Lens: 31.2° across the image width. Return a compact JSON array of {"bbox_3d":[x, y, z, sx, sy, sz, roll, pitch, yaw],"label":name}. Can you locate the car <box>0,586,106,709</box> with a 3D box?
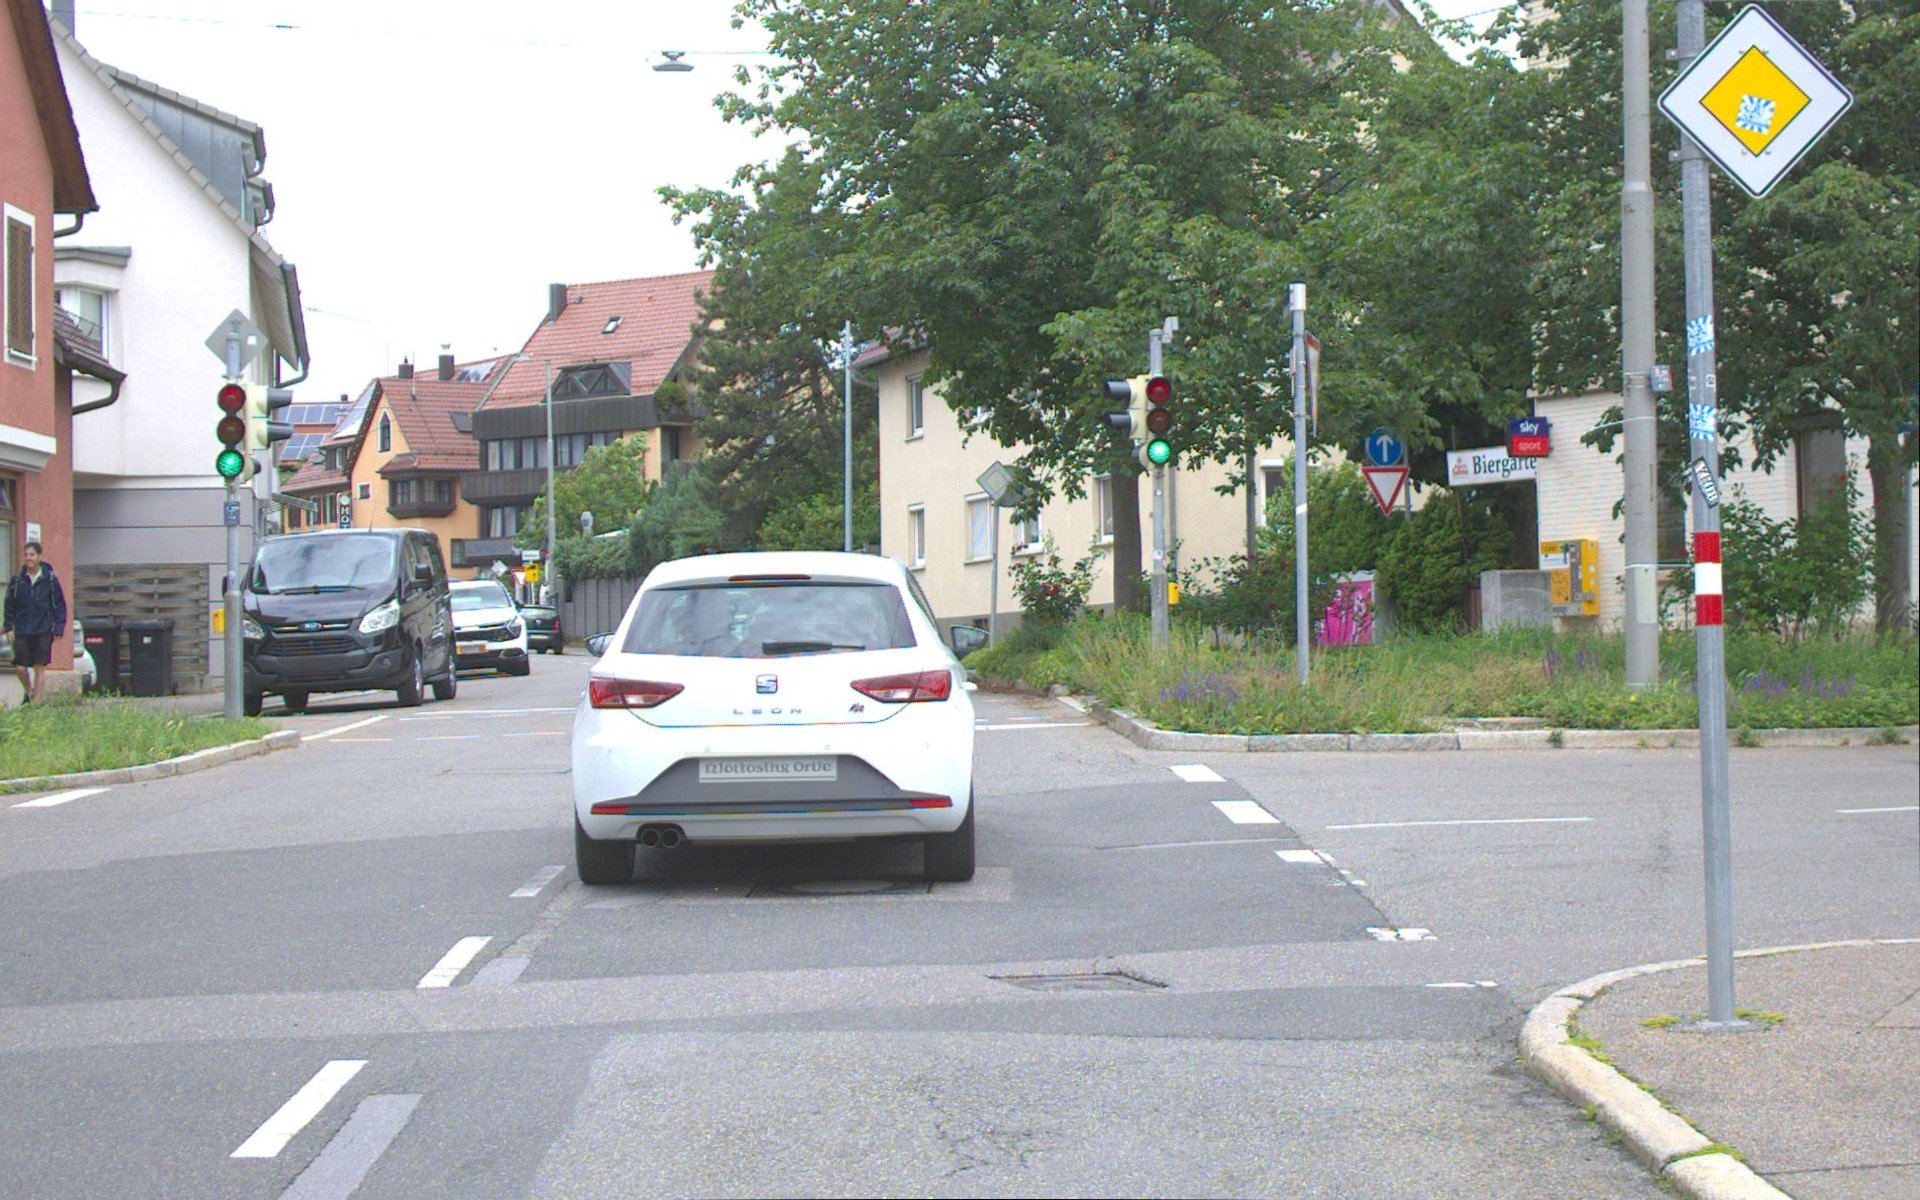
[{"bbox_3d":[-12.177,0.593,42.395,2.830,1.470,1.742,-1,-1,2],"label":"car"}]

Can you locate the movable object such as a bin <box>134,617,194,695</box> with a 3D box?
[{"bbox_3d":[-10.769,0.752,46.533,0.665,1.014,0.795,-1,1,-5],"label":"movable object such as a bin"}]

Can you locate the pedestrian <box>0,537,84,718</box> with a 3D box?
[{"bbox_3d":[-9.267,0.266,34.378,0.800,1.778,0.893,0,1,-2],"label":"pedestrian"}]

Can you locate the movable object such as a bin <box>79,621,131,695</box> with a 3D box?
[{"bbox_3d":[-11.531,0.775,46.357,0.533,0.968,0.635,1,0,-1],"label":"movable object such as a bin"}]

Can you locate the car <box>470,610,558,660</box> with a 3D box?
[{"bbox_3d":[-13.281,1.032,102.121,1.758,1.447,4.001,0,-1,-20],"label":"car"}]

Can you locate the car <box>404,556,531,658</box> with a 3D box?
[{"bbox_3d":[-8.275,0.124,57.532,1.997,1.627,4.858,0,0,-9],"label":"car"}]

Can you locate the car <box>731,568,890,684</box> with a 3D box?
[{"bbox_3d":[-2.001,0.343,44.921,1.758,1.447,4.001,0,-1,-7],"label":"car"}]

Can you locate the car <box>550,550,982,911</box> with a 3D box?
[{"bbox_3d":[-0.791,0.507,16.091,1.758,1.447,4.000,0,1,0],"label":"car"}]

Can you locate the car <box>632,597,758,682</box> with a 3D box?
[{"bbox_3d":[-4.704,0.691,60.560,1.758,1.447,4.001,0,-1,-11],"label":"car"}]

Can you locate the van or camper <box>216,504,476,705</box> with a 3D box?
[{"bbox_3d":[-6.718,0.101,38.132,2.073,1.999,4.857,-3,-1,-2],"label":"van or camper"}]
